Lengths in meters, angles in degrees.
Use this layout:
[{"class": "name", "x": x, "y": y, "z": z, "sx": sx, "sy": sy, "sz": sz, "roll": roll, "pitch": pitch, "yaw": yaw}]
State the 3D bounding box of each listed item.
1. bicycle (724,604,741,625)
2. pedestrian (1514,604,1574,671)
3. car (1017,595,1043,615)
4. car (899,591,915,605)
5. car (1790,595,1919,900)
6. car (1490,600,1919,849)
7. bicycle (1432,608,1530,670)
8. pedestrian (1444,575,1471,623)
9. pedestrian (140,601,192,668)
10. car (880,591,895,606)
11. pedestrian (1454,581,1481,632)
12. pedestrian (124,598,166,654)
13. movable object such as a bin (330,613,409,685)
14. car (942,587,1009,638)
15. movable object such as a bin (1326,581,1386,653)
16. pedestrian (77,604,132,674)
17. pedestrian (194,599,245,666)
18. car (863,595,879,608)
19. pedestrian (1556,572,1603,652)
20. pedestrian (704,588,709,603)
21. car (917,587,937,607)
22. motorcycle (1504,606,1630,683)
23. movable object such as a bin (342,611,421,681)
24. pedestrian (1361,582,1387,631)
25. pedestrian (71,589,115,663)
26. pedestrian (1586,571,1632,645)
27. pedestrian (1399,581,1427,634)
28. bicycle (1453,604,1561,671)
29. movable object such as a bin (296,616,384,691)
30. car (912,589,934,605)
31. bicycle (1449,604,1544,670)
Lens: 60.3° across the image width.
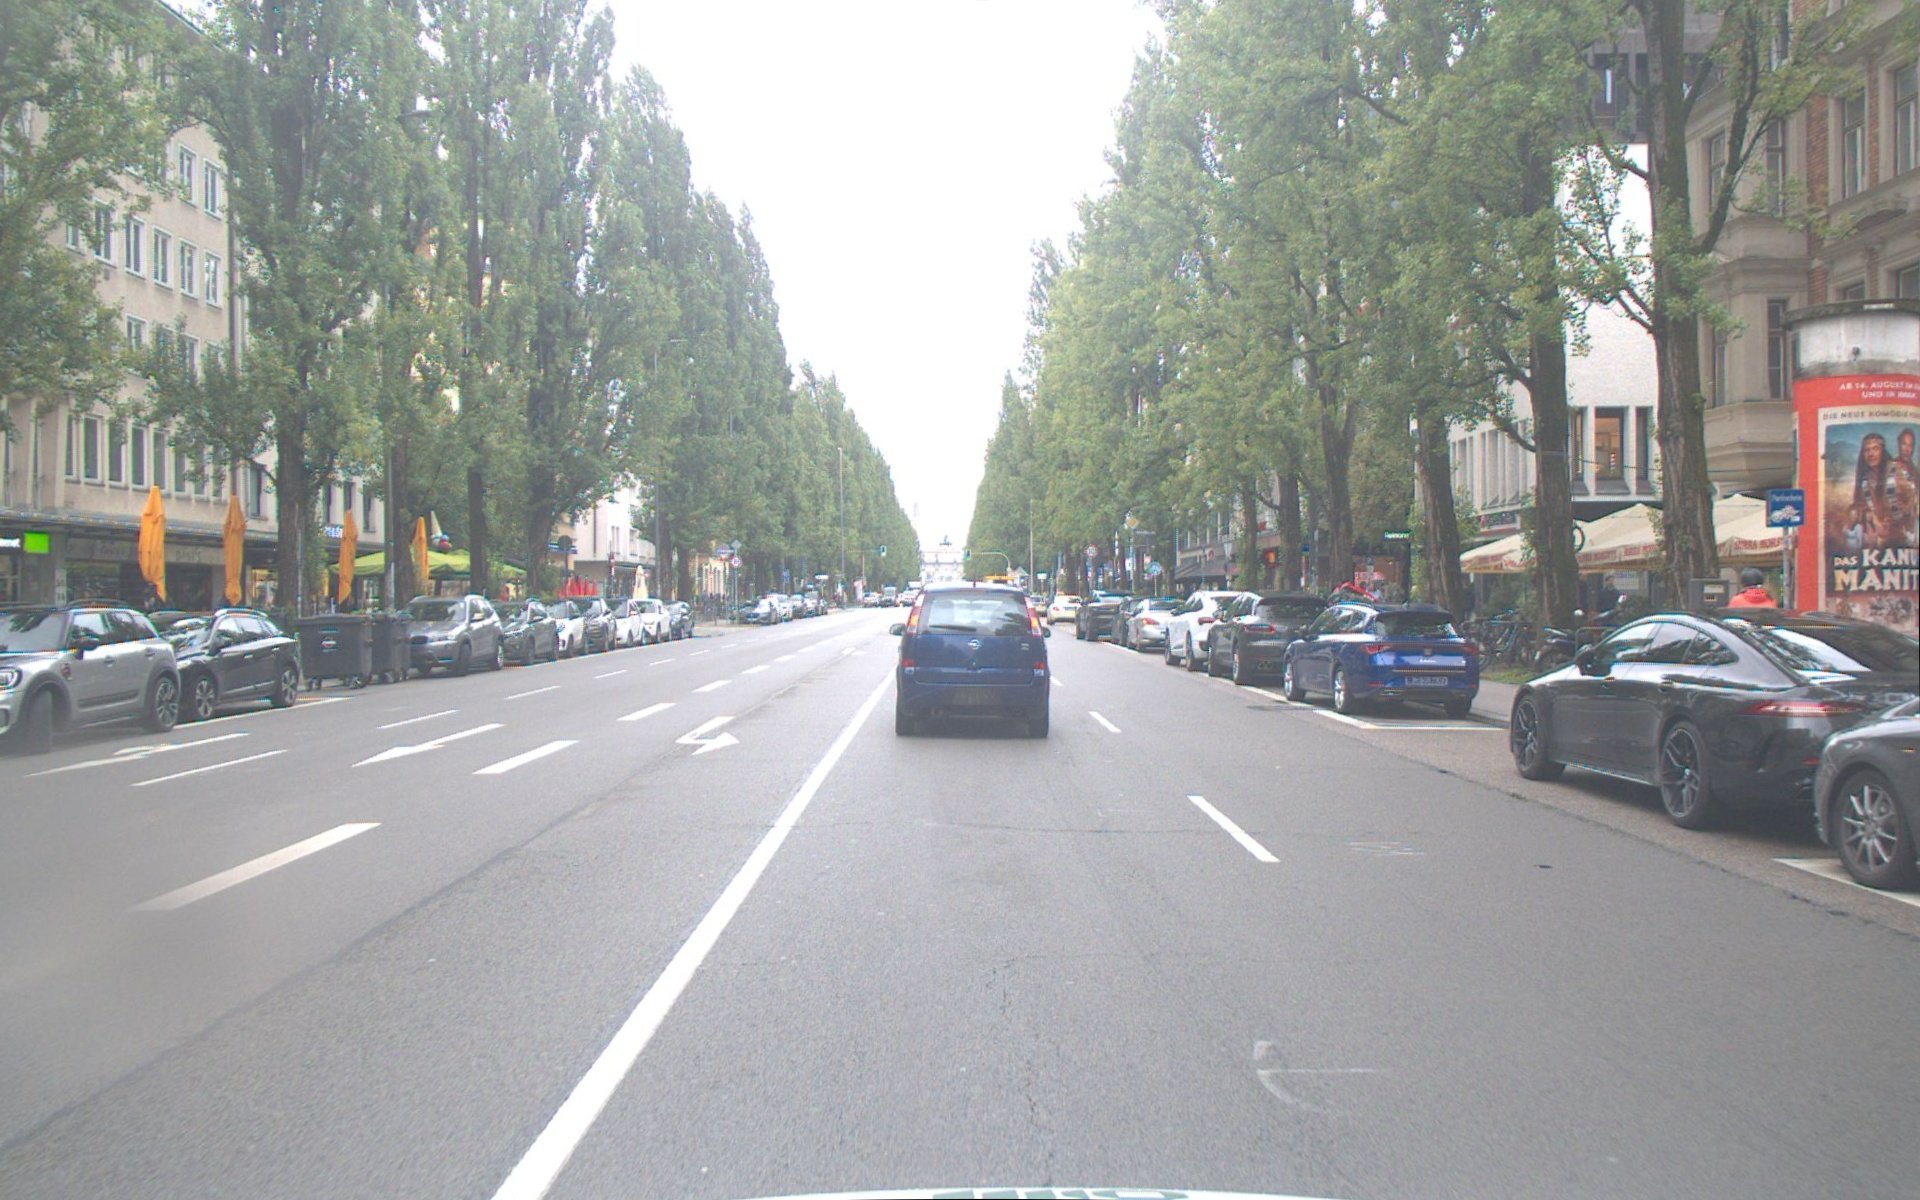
[{"class": "bicycle", "x": -11.633, "y": 0.724, "z": 84.536, "sx": 0.652, "sy": 1.023, "sz": 2.460, "roll": -1, "pitch": 0, "yaw": -4}, {"class": "pedestrian", "x": 11.618, "y": 0.741, "z": 32.906, "sx": 0.909, "sy": 1.289, "sz": 0.731, "roll": -1, "pitch": 0, "yaw": -2}, {"class": "car", "x": 4.955, "y": 0.317, "z": 116.762, "sx": 1.635, "sy": 1.376, "sz": 4.104, "roll": -1, "pitch": 0, "yaw": 0}, {"class": "car", "x": -6.337, "y": -0.236, "z": 198.247, "sx": 1.798, "sy": 1.706, "sz": 3.778, "roll": -1, "pitch": 0, "yaw": -1}, {"class": "car", "x": 5.791, "y": 0.741, "z": 7.442, "sx": 1.781, "sy": 1.532, "sz": 4.229, "roll": -1, "pitch": 0, "yaw": -4}, {"class": "car", "x": 5.715, "y": 0.747, "z": 12.363, "sx": 1.840, "sy": 1.457, "sz": 4.803, "roll": -1, "pitch": 0, "yaw": -2}, {"class": "bicycle", "x": 10.045, "y": 0.740, "z": 31.881, "sx": 1.794, "sy": 1.159, "sz": 0.370, "roll": -1, "pitch": 0, "yaw": -7}, {"class": "pedestrian", "x": 17.365, "y": -0.040, "z": 57.727, "sx": 0.720, "sy": 1.655, "sz": 0.766, "roll": 1, "pitch": 0, "yaw": 5}, {"class": "pedestrian", "x": -21.493, "y": 0.911, "z": 44.791, "sx": 0.834, "sy": 1.775, "sz": 1.148, "roll": 0, "pitch": 0, "yaw": 0}, {"class": "car", "x": -8.934, "y": -0.231, "z": 203.778, "sx": 1.798, "sy": 1.769, "sz": 3.778, "roll": -1, "pitch": 0, "yaw": -1}, {"class": "pedestrian", "x": 16.497, "y": 0.203, "z": 53.761, "sx": 0.640, "sy": 1.655, "sz": 0.704, "roll": -1, "pitch": 0, "yaw": -3}, {"class": "pedestrian", "x": -19.986, "y": 0.639, "z": 40.568, "sx": 0.612, "sy": 1.348, "sz": 0.826, "roll": -1, "pitch": 0, "yaw": -2}, {"class": "movable object such as a bin", "x": -11.451, "y": 0.943, "z": 32.123, "sx": 1.234, "sy": 1.340, "sz": 0.825, "roll": -1, "pitch": 0, "yaw": -2}, {"class": "car", "x": 0.436, "y": 0.368, "z": 51.907, "sx": 1.953, "sy": 1.523, "sz": 3.999, "roll": -1, "pitch": 0, "yaw": -1}, {"class": "movable object such as a bin", "x": 9.835, "y": 0.406, "z": 41.156, "sx": 1.012, "sy": 1.733, "sz": 1.585, "roll": -1, "pitch": 0, "yaw": -4}, {"class": "pedestrian", "x": -22.257, "y": 1.002, "z": 43.046, "sx": 0.834, "sy": 1.775, "sz": 1.148, "roll": 0, "pitch": 0, "yaw": 0}, {"class": "pedestrian", "x": -19.958, "y": 0.866, "z": 44.612, "sx": 0.834, "sy": 1.775, "sz": 1.148, "roll": 0, "pitch": 0, "yaw": 0}, {"class": "car", "x": -11.288, "y": 0.136, "z": 210.006, "sx": 1.922, "sy": 1.576, "sz": 3.778, "roll": -1, "pitch": 0, "yaw": -1}, {"class": "pedestrian", "x": 14.468, "y": 0.284, "z": 38.649, "sx": 0.714, "sy": 1.834, "sz": 0.931, "roll": -1, "pitch": 0, "yaw": 0}, {"class": "pedestrian", "x": -18.972, "y": -0.346, "z": 123.843, "sx": 0.283, "sy": 1.109, "sz": 0.258, "roll": -1, "pitch": 0, "yaw": 5}, {"class": "car", "x": -3.159, "y": -0.289, "z": 158.180, "sx": 1.798, "sy": 1.792, "sz": 3.778, "roll": -1, "pitch": 0, "yaw": -1}, {"class": "motorcycle", "x": 9.774, "y": 0.704, "z": 26.653, "sx": 1.794, "sy": 1.200, "sz": 0.695, "roll": -1, "pitch": 0, "yaw": -7}, {"class": "movable object such as a bin", "x": -11.515, "y": 0.906, "z": 32.962, "sx": 1.287, "sy": 1.340, "sz": 0.819, "roll": -1, "pitch": 0, "yaw": -2}, {"class": "pedestrian", "x": 15.185, "y": 0.235, "z": 60.714, "sx": 0.712, "sy": 1.781, "sz": 0.859, "roll": 1, "pitch": 0, "yaw": 0}, {"class": "pedestrian", "x": -20.810, "y": 0.625, "z": 39.723, "sx": 0.612, "sy": 1.752, "sz": 0.826, "roll": -1, "pitch": 0, "yaw": -2}, {"class": "pedestrian", "x": 15.182, "y": 0.185, "z": 38.708, "sx": 0.714, "sy": 1.706, "sz": 0.931, "roll": -1, "pitch": 0, "yaw": 0}, {"class": "pedestrian", "x": 14.351, "y": 0.234, "z": 52.419, "sx": 0.640, "sy": 1.655, "sz": 0.704, "roll": -1, "pitch": 0, "yaw": -3}, {"class": "bicycle", "x": 10.222, "y": 0.697, "z": 30.925, "sx": 1.833, "sy": 1.213, "sz": 0.575, "roll": -1, "pitch": 0, "yaw": -5}, {"class": "movable object such as a bin", "x": -11.263, "y": 0.961, "z": 30.064, "sx": 1.251, "sy": 1.333, "sz": 0.901, "roll": -1, "pitch": 0, "yaw": -1}, {"class": "car", "x": -3.369, "y": -0.260, "z": 149.929, "sx": 1.922, "sy": 1.424, "sz": 3.778, "roll": -1, "pitch": 0, "yaw": -1}, {"class": "bicycle", "x": 10.200, "y": 0.698, "z": 31.446, "sx": 1.677, "sy": 1.213, "sz": 0.420, "roll": -1, "pitch": 0, "yaw": -5}]
